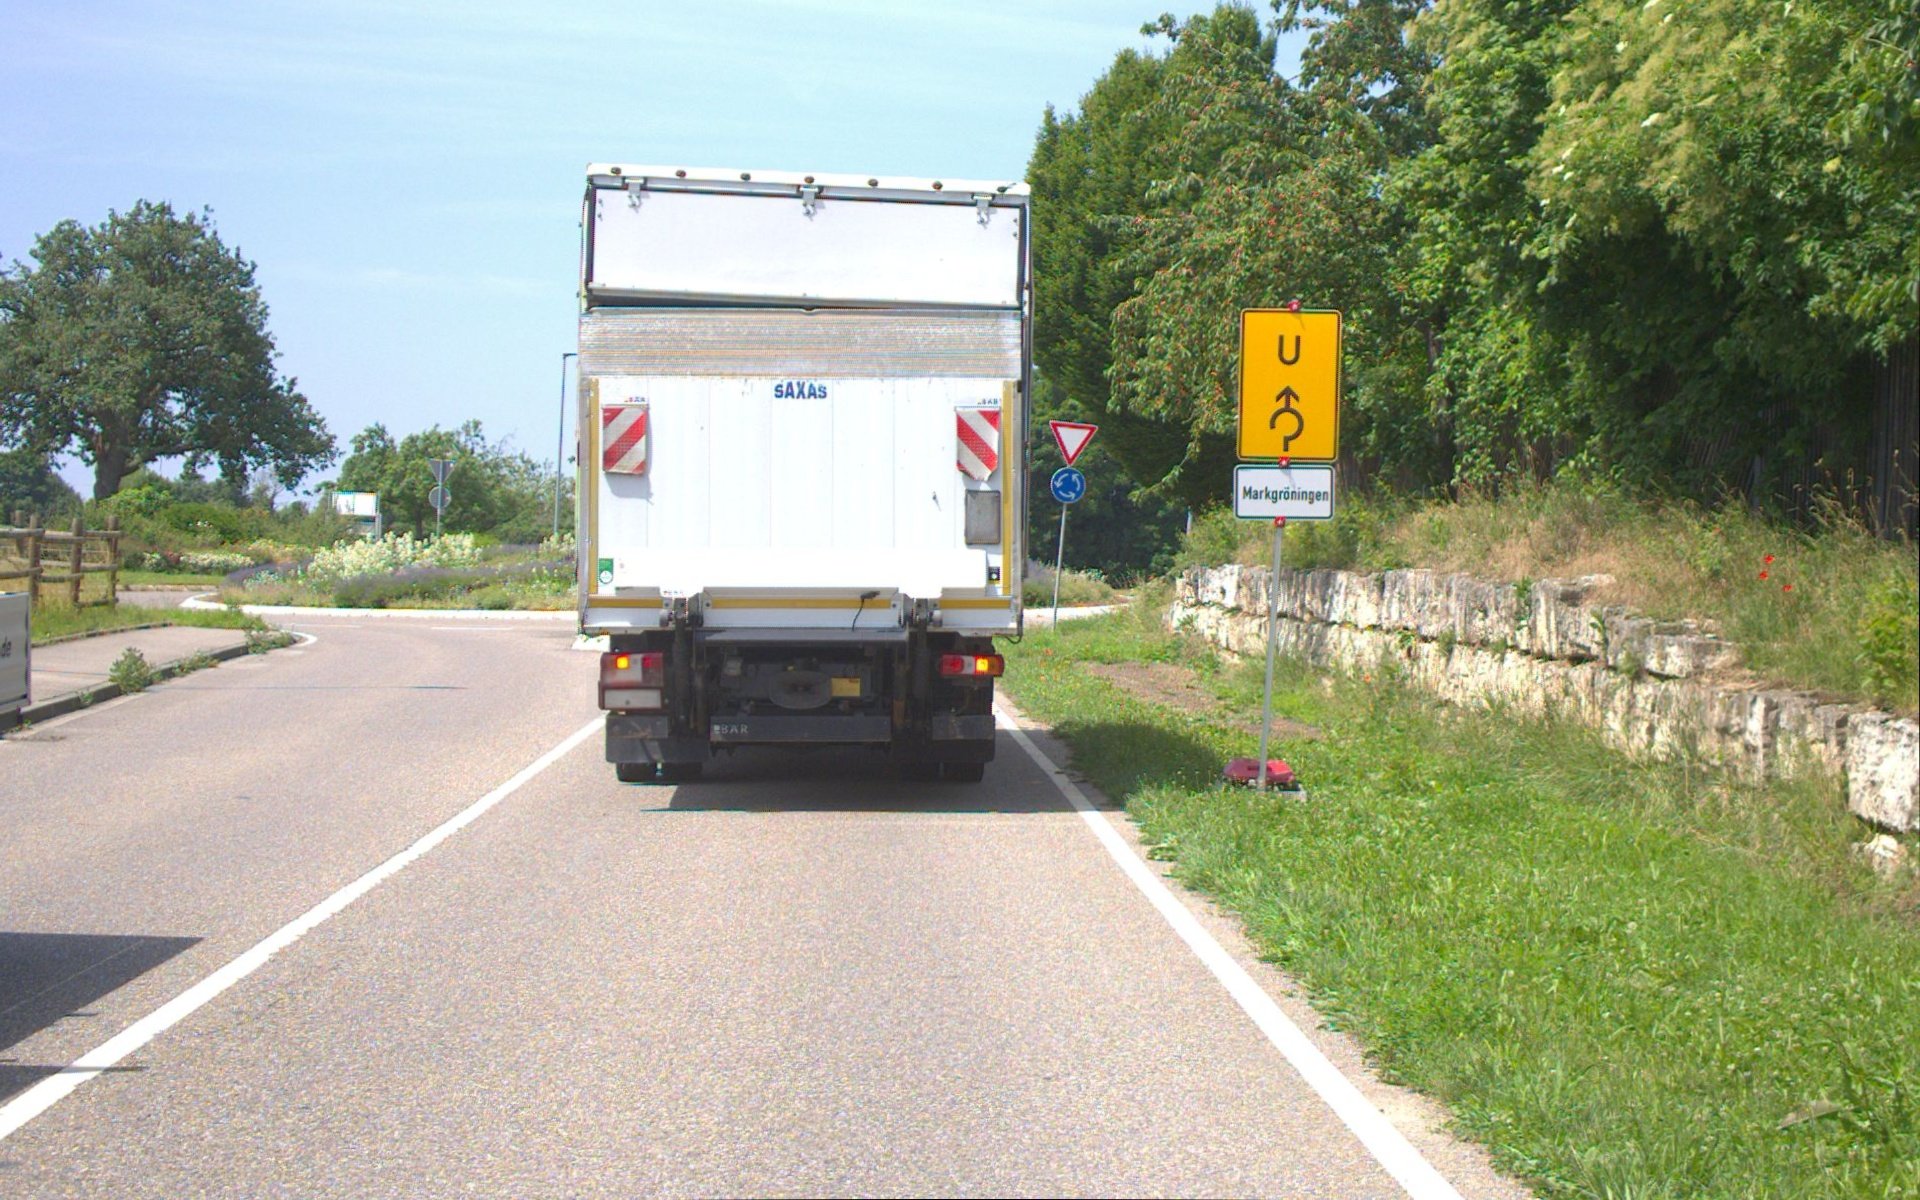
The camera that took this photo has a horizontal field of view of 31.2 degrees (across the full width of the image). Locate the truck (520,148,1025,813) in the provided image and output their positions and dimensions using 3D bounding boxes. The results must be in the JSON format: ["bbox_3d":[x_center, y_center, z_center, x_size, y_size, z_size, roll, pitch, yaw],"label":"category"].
[{"bbox_3d":[-1.296,-0.736,23.796,2.766,3.658,9.384,1,1,-3],"label":"truck"}]

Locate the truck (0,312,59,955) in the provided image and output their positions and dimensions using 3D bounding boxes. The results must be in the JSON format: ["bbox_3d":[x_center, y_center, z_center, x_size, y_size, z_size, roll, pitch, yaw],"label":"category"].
[{"bbox_3d":[-4.435,0.141,9.766,2.222,2.285,6.492,1,1,-2],"label":"truck"}]
